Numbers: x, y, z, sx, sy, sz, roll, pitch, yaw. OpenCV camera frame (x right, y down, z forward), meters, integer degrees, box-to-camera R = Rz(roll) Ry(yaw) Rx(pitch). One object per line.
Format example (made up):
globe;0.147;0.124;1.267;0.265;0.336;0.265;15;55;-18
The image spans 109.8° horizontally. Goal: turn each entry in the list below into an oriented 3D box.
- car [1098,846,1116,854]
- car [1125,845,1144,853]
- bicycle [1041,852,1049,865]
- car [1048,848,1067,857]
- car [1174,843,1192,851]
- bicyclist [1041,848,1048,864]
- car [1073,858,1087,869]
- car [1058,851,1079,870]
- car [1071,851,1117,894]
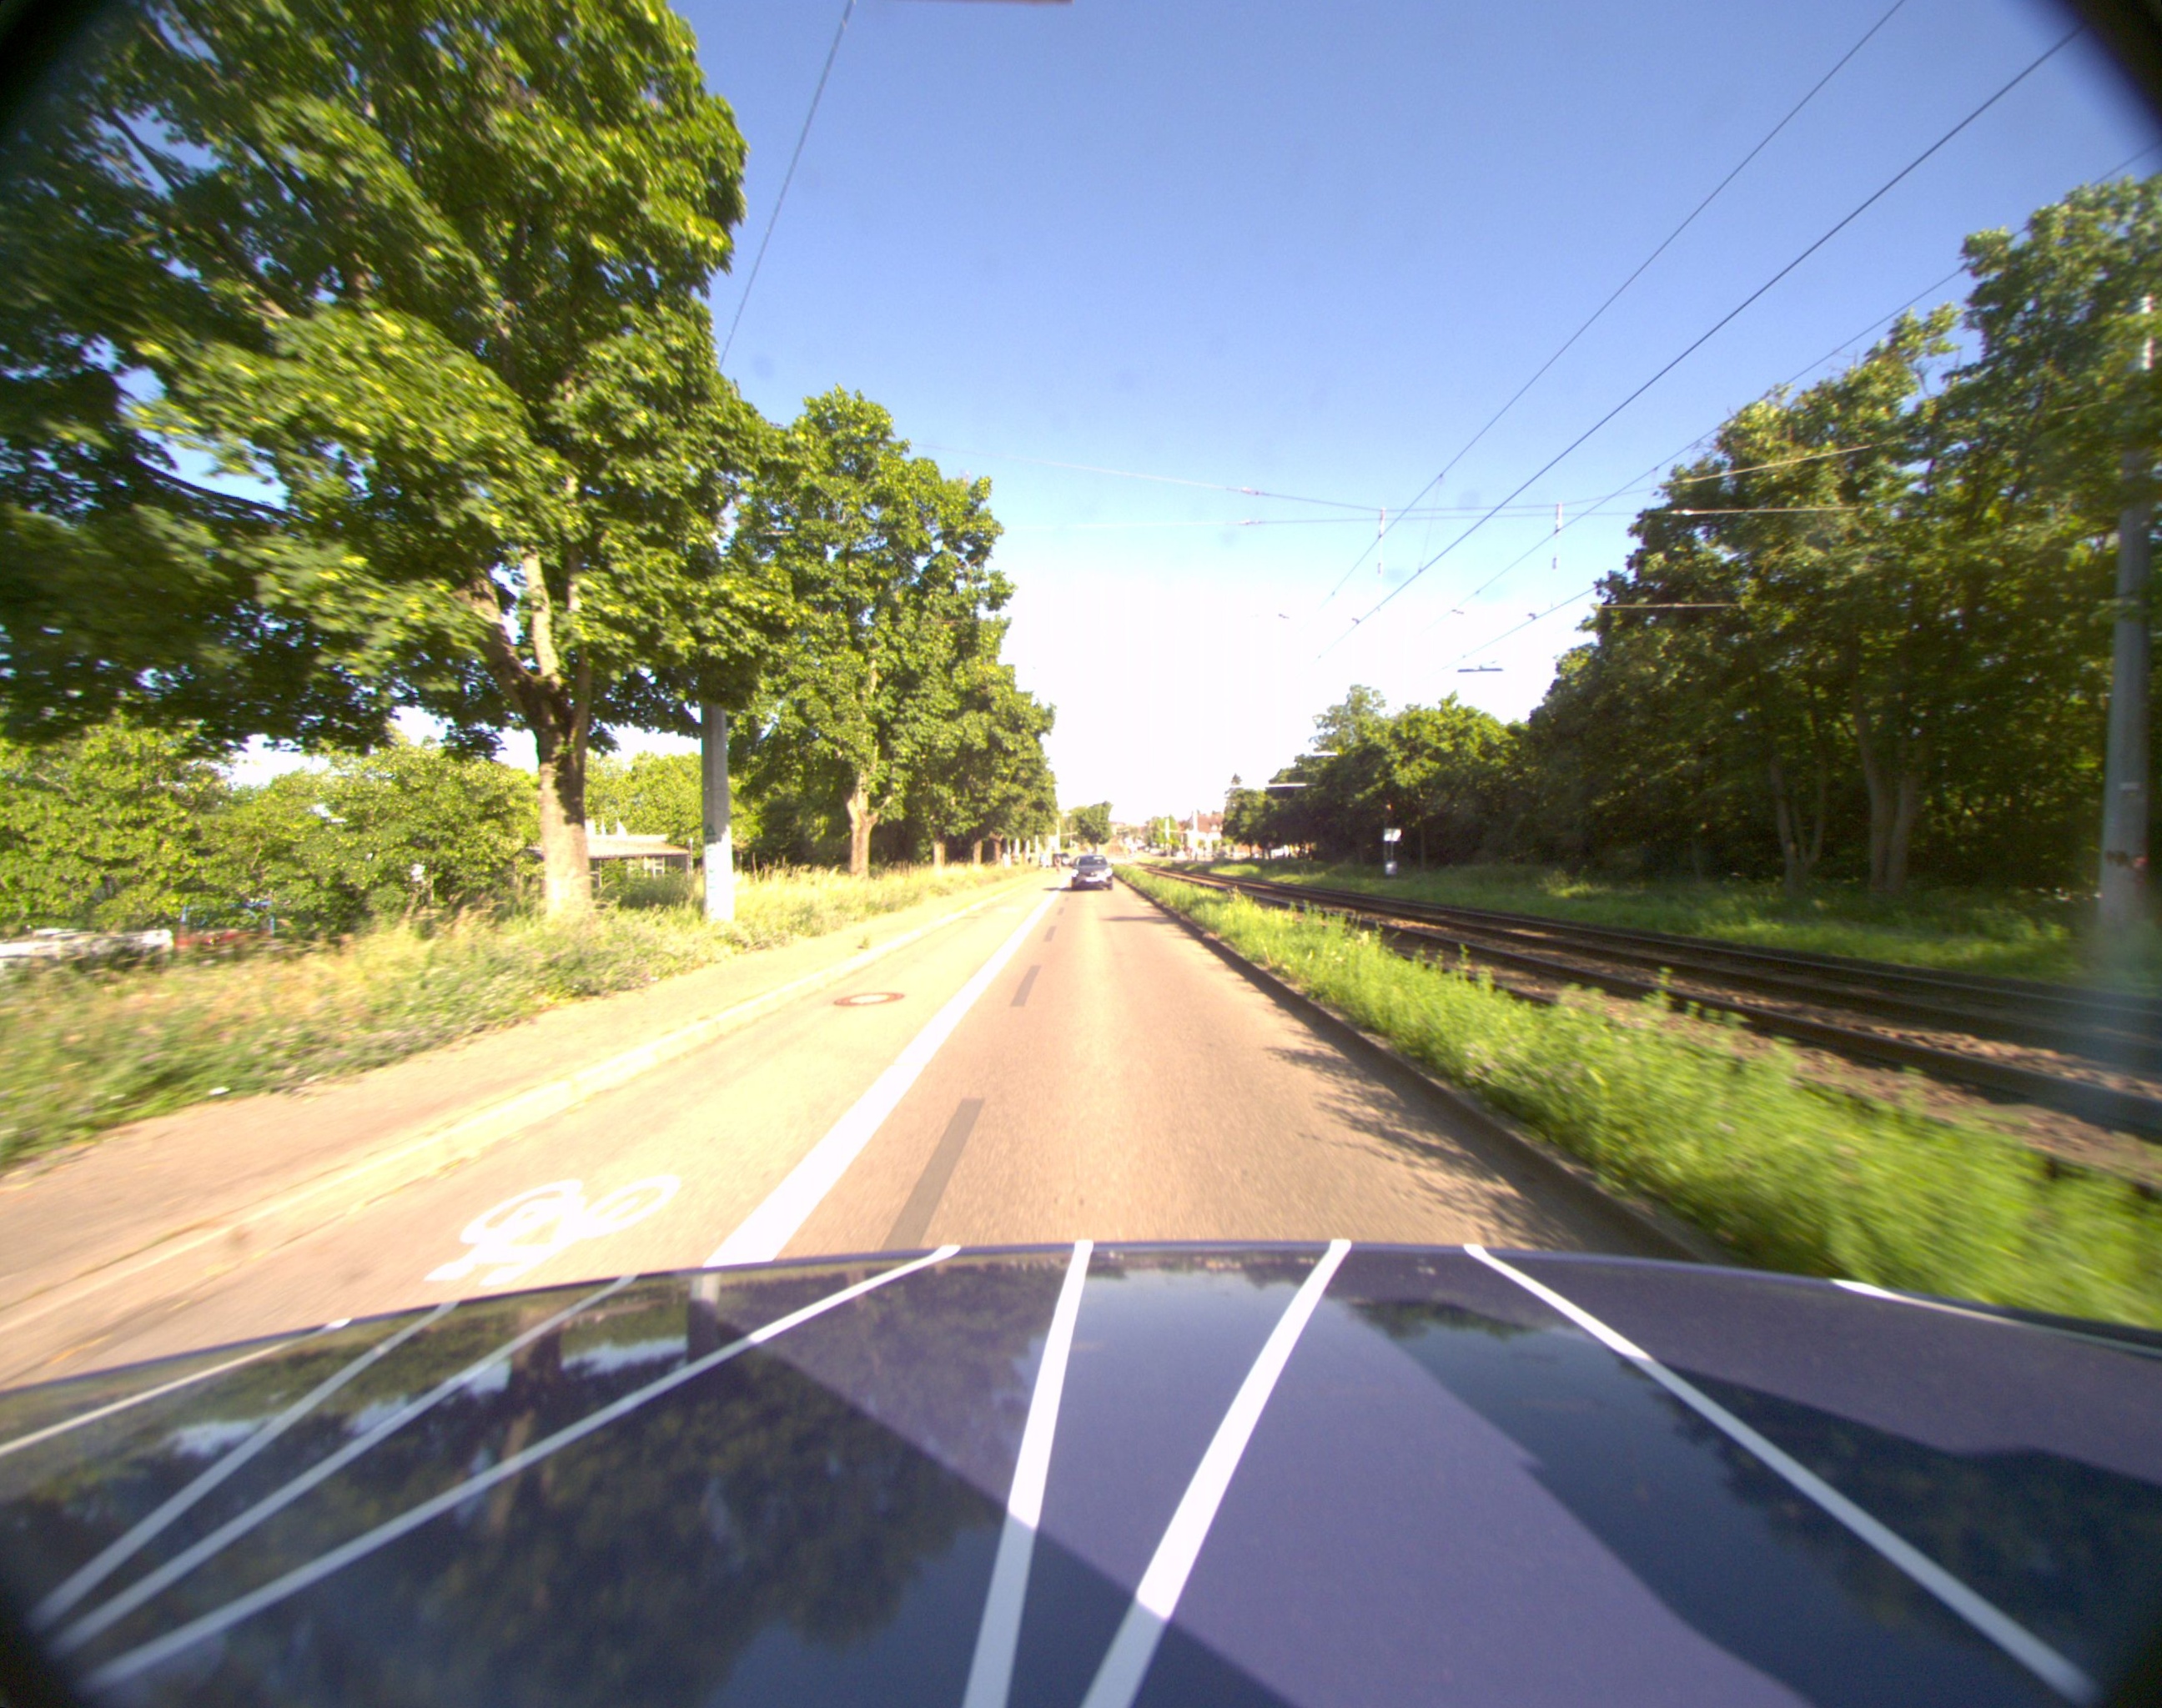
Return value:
car;6.244;-0.936;183.073;4.003;1.936;1.968;-3;1;-19
car;13.082;-1.241;185.721;4.003;1.936;1.968;-3;1;-19
bicycle;-3.714;0.465;77.980;0.647;1.344;2.240;-2;1;1
car;-5.670;-0.429;181.265;4.003;1.936;1.968;-3;1;-19
car;25.396;-1.779;189.308;4.003;1.936;1.968;-3;1;-19
bicyclist;-3.735;0.175;78.005;0.655;1.575;0.698;-2;1;1
car;-0.121;1.149;91.756;1.563;1.279;3.455;-2;1;1
car;-1.138;0.583;72.026;1.814;1.625;4.128;-2;1;1
car;0.583;0.732;33.084;1.814;1.625;4.709;-1;1;1
